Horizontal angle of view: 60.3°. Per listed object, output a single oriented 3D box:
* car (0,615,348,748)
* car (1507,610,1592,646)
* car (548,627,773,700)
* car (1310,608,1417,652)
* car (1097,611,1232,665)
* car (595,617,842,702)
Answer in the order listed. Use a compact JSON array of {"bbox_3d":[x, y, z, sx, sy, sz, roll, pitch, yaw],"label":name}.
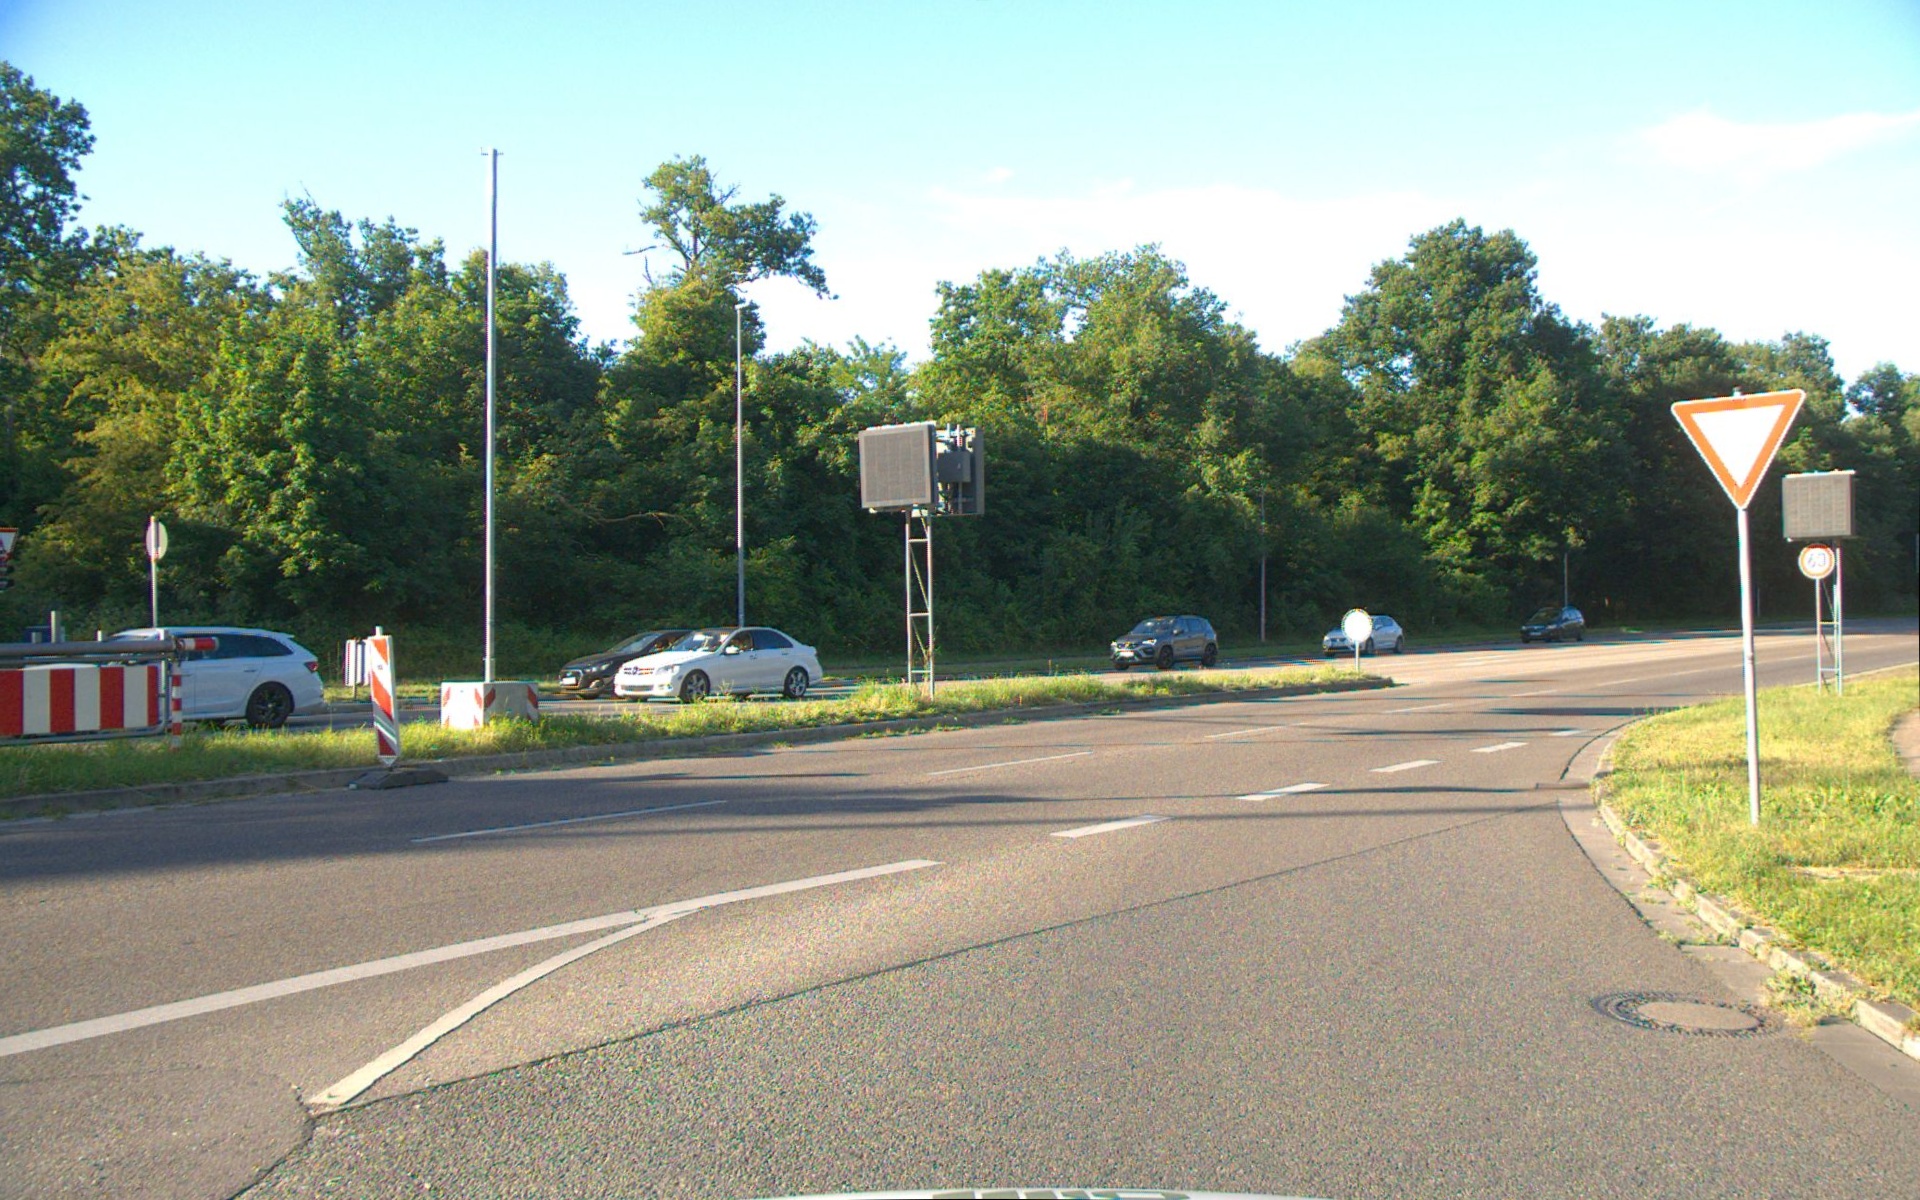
[{"bbox_3d":[-11.227,1.043,23.075,1.959,1.608,4.816,-1,-1,35],"label":"car"},{"bbox_3d":[26.570,1.253,74.426,1.965,1.556,4.622,-1,-1,43],"label":"car"},{"bbox_3d":[-6.406,1.319,35.795,1.963,1.408,4.627,-1,-1,40],"label":"car"},{"bbox_3d":[15.090,1.115,61.757,1.964,1.556,4.623,-1,-1,42],"label":"car"},{"bbox_3d":[6.379,1.153,51.141,1.963,1.556,4.627,-1,-1,40],"label":"car"},{"bbox_3d":[-4.578,1.092,31.990,1.960,1.461,4.789,-1,-1,36],"label":"car"}]
